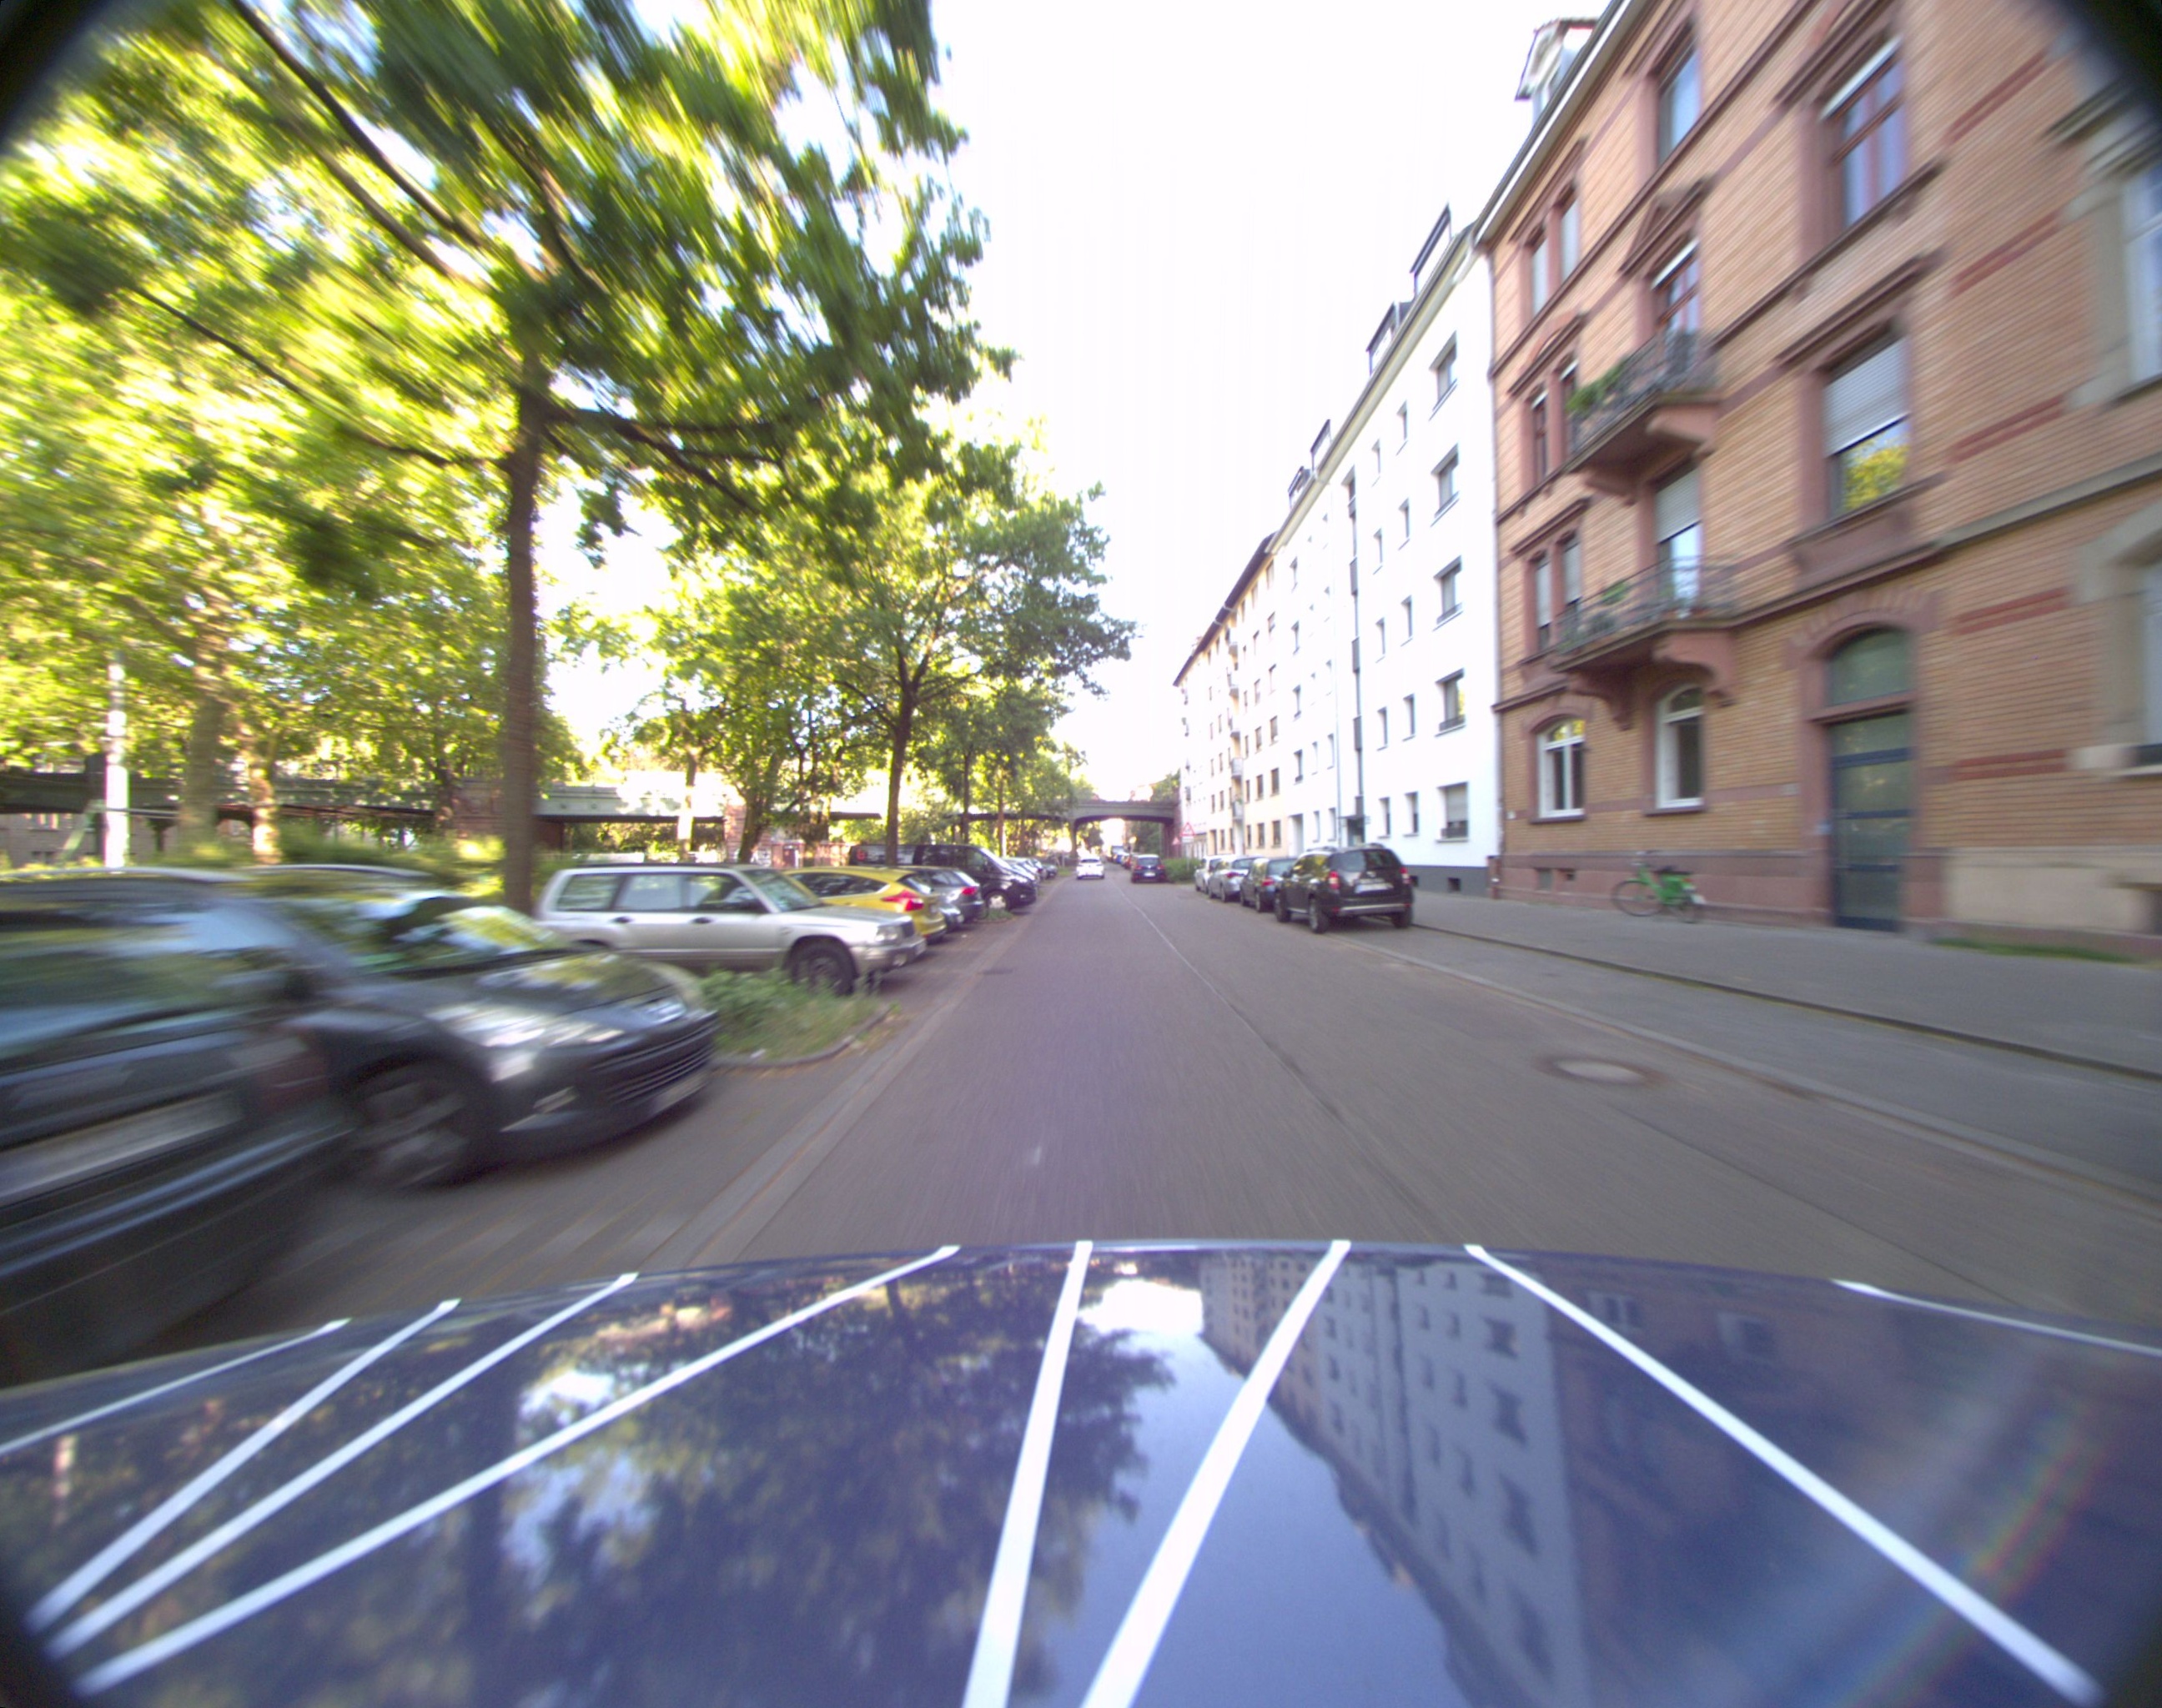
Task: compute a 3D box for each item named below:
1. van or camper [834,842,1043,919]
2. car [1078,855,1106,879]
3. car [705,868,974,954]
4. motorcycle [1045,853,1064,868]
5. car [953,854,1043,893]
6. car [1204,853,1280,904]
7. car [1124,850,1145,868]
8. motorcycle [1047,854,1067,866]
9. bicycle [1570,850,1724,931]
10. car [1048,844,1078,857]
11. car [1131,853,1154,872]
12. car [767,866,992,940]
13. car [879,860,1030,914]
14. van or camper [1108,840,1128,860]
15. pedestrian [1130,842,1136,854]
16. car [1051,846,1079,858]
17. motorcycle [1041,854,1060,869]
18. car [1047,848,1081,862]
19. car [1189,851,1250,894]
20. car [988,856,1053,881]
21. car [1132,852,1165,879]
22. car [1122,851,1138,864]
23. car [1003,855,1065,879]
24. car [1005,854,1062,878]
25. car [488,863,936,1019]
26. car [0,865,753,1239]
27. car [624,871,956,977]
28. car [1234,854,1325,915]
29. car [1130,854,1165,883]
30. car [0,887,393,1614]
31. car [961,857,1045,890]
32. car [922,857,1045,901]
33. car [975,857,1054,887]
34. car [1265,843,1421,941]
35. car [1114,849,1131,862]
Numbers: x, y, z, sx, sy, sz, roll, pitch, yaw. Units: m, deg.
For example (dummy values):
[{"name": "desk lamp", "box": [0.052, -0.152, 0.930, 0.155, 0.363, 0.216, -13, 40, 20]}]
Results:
[{"name": "van or camper", "box": [-3.895, 0.717, 21.363, 5.426, 2.015, 2.030, -1, 0, 3]}, {"name": "car", "box": [0.734, 0.812, 48.399, 1.672, 1.422, 4.001, 1, -1, 1]}, {"name": "car", "box": [-4.381, 1.028, 14.257, 4.409, 1.432, 1.838, -1, 1, 3]}, {"name": "motorcycle", "box": [-2.563, 0.659, 73.635, 1.601, 1.400, 0.713, -2, 2, 21]}, {"name": "car", "box": [-3.668, 0.859, 34.093, 3.791, 1.637, 1.664, -1, 2, 1]}, {"name": "car", "box": [5.367, 0.760, 25.794, 1.672, 1.463, 4.284, -4, 0, 2]}, {"name": "car", "box": [5.378, 0.436, 76.187, 1.721, 1.698, 4.321, 0, 1, -1]}, {"name": "motorcycle", "box": [-2.454, 0.654, 77.930, 1.839, 1.126, 0.849, -3, 2, -22]}, {"name": "bicycle", "box": [9.442, 0.570, 12.845, 0.738, 1.199, 2.514, -2, 0, 2]}, {"name": "car", "box": [-2.880, -0.550, 119.714, 4.683, 1.914, 1.871, 1, 2, -1]}, {"name": "car", "box": [5.081, 0.653, 63.337, 1.640, 1.458, 4.000, 1, 1, 1]}, {"name": "car", "box": [-4.276, 1.022, 16.655, 4.410, 1.432, 1.837, -1, 1, 0]}, {"name": "car", "box": [-3.851, 0.990, 23.690, 4.411, 1.492, 1.837, -1, 2, -2]}, {"name": "van or camper", "box": [5.232, -0.635, 107.879, 2.242, 2.509, 6.417, -3, 2, -2]}, {"name": "pedestrian", "box": [8.222, -0.903, 120.372, 0.639, 1.904, 1.046, -3, 2, -6]}, {"name": "car", "box": [-2.326, -0.280, 112.521, 3.997, 1.565, 1.586, -3, 2, -1]}, {"name": "motorcycle", "box": [-2.933, 0.704, 72.731, 1.601, 1.400, 0.713, -2, 2, 21]}, {"name": "car", "box": [-2.278, 0.154, 102.425, 4.544, 1.686, 1.907, -3, 2, -1]}, {"name": "car", "box": [5.544, 0.697, 30.895, 1.672, 1.499, 4.000, -4, 0, 1]}, {"name": "car", "box": [-3.682, 0.892, 46.539, 3.791, 1.393, 1.664, -1, 2, 0]}, {"name": "car", "box": [4.095, 0.653, 46.581, 1.707, 1.516, 3.773, -1, 1, 0]}, {"name": "car", "box": [5.884, 0.400, 92.026, 1.599, 1.538, 3.913, 0, 1, -2]}, {"name": "car", "box": [-3.024, 0.821, 49.242, 3.791, 1.393, 1.827, -1, 2, 2]}, {"name": "car", "box": [-3.224, 0.813, 51.498, 3.792, 1.464, 1.634, -1, 2, -3]}, {"name": "car", "box": [-4.122, 0.946, 9.055, 4.410, 1.582, 1.837, -1, 1, 0]}, {"name": "car", "box": [-4.468, 0.902, 4.283, 4.410, 1.582, 1.837, -1, 1, 2]}, {"name": "car", "box": [-4.349, 1.033, 11.818, 4.409, 1.432, 1.838, -1, 1, 3]}, {"name": "car", "box": [5.435, 0.783, 21.231, 1.619, 1.443, 4.001, -3, 0, 3]}, {"name": "car", "box": [3.564, 0.728, 41.256, 1.743, 1.471, 4.000, 0, 0, 2]}, {"name": "car", "box": [-4.661, 0.950, 1.685, 4.412, 1.582, 1.837, -1, 1, -4]}, {"name": "car", "box": [-3.715, 0.934, 36.731, 3.790, 1.465, 1.664, -1, 2, 3]}, {"name": "car", "box": [-3.725, 0.934, 29.368, 4.408, 1.568, 1.664, 0, 2, 6]}, {"name": "car", "box": [-3.397, 0.911, 39.405, 3.789, 1.439, 1.664, 0, 2, 6]}, {"name": "car", "box": [5.256, 0.685, 15.855, 1.756, 1.696, 4.200, -2, 0, 0]}, {"name": "car", "box": [5.550, 0.158, 101.877, 1.749, 1.458, 4.373, -3, 2, -3]}]
